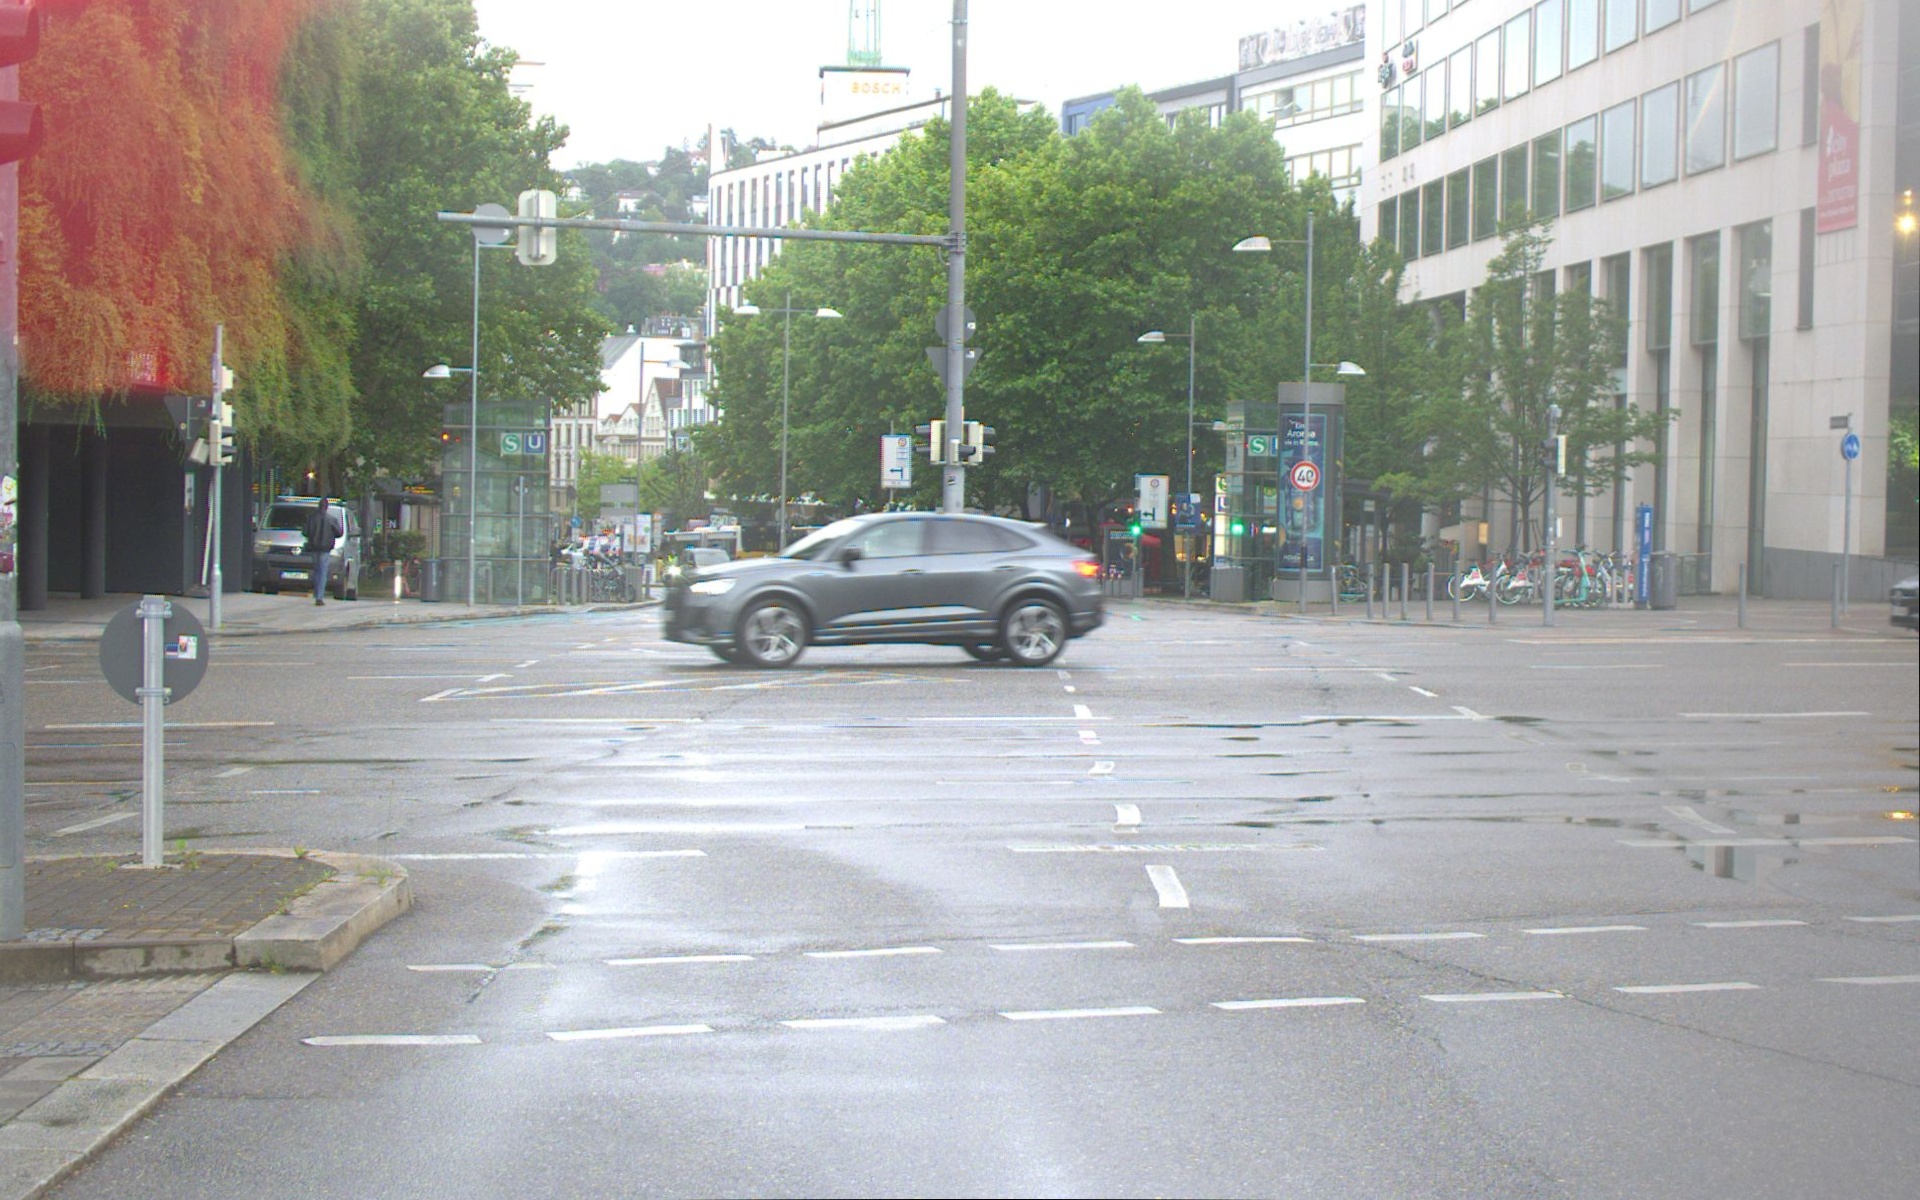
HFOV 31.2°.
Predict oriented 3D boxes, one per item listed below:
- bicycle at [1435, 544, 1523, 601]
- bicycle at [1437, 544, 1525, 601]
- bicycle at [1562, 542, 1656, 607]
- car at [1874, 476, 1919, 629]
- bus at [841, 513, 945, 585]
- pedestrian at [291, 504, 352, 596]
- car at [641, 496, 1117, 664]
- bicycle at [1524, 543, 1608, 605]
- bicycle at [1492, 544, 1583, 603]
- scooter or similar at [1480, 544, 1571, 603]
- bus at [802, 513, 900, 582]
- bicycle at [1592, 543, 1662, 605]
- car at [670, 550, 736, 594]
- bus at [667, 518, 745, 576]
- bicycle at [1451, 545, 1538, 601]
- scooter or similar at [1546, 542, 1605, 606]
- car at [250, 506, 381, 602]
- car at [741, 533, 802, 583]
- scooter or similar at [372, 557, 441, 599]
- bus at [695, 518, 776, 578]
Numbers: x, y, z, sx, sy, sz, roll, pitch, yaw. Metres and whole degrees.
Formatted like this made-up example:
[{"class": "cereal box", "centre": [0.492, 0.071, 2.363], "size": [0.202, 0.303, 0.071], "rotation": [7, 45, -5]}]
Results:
[{"class": "bicycle", "centre": [10.980, -0.580, 72.775], "size": [1.777, 1.190, 0.586], "rotation": [1, 0, 2]}, {"class": "bicycle", "centre": [11.128, -0.584, 73.410], "size": [1.777, 1.190, 0.586], "rotation": [1, 0, 2]}, {"class": "bicycle", "centre": [12.238, -0.484, 64.845], "size": [1.624, 1.190, 0.586], "rotation": [1, 0, 26]}, {"class": "car", "centre": [14.799, -0.607, 46.045], "size": [4.652, 2.007, 1.549], "rotation": [1, 0, -3]}, {"class": "bus", "centre": [-2.899, -2.185, 145.942], "size": [2.627, 2.985, 7.451], "rotation": [0, 1, -16]}, {"class": "pedestrian", "centre": [-11.465, -0.901, 61.779], "size": [0.933, 1.638, 0.774], "rotation": [1, 0, -1]}, {"class": "car", "centre": [-0.839, -0.197, 34.804], "size": [4.473, 1.603, 1.832], "rotation": [1, 0, -16]}, {"class": "bicycle", "centre": [11.695, -0.507, 66.397], "size": [0.584, 1.190, 1.783], "rotation": [1, 1, -28]}, {"class": "bicycle", "centre": [12.027, -0.554, 71.607], "size": [1.777, 1.190, 0.586], "rotation": [1, 0, 2]}, {"class": "scooter or similar", "centre": [11.673, -0.553, 70.984], "size": [1.777, 1.190, 0.586], "rotation": [1, 0, 2]}, {"class": "bus", "centre": [-4.913, -2.346, 153.088], "size": [2.627, 2.985, 7.451], "rotation": [0, 1, -16]}, {"class": "bicycle", "centre": [12.999, -0.494, 66.954], "size": [0.586, 1.190, 1.779], "rotation": [1, 1, 38]}, {"class": "car", "centre": [-10.684, -1.157, 142.810], "size": [2.163, 1.759, 4.832], "rotation": [-1, 1, -11]}, {"class": "bus", "centre": [-13.371, -2.789, 180.329], "size": [2.627, 2.985, 7.451], "rotation": [0, 1, -16]}, {"class": "bicycle", "centre": [11.556, -0.587, 74.328], "size": [1.777, 1.190, 0.586], "rotation": [1, 0, 2]}, {"class": "scooter or similar", "centre": [11.485, -0.488, 64.160], "size": [0.963, 1.190, 0.454], "rotation": [1, 1, 40]}, {"class": "car", "centre": [-12.774, -0.914, 68.330], "size": [1.870, 1.833, 4.000], "rotation": [1, 1, -1]}, {"class": "car", "centre": [-6.933, -1.538, 126.187], "size": [2.164, 1.759, 5.113], "rotation": [0, 1, -3]}, {"class": "scooter or similar", "centre": [-13.282, -0.531, 82.548], "size": [0.623, 1.001, 1.657], "rotation": [1, 1, 38]}, {"class": "bus", "centre": [-11.356, -2.637, 173.233], "size": [2.627, 2.985, 7.330], "rotation": [0, 1, -16]}]
